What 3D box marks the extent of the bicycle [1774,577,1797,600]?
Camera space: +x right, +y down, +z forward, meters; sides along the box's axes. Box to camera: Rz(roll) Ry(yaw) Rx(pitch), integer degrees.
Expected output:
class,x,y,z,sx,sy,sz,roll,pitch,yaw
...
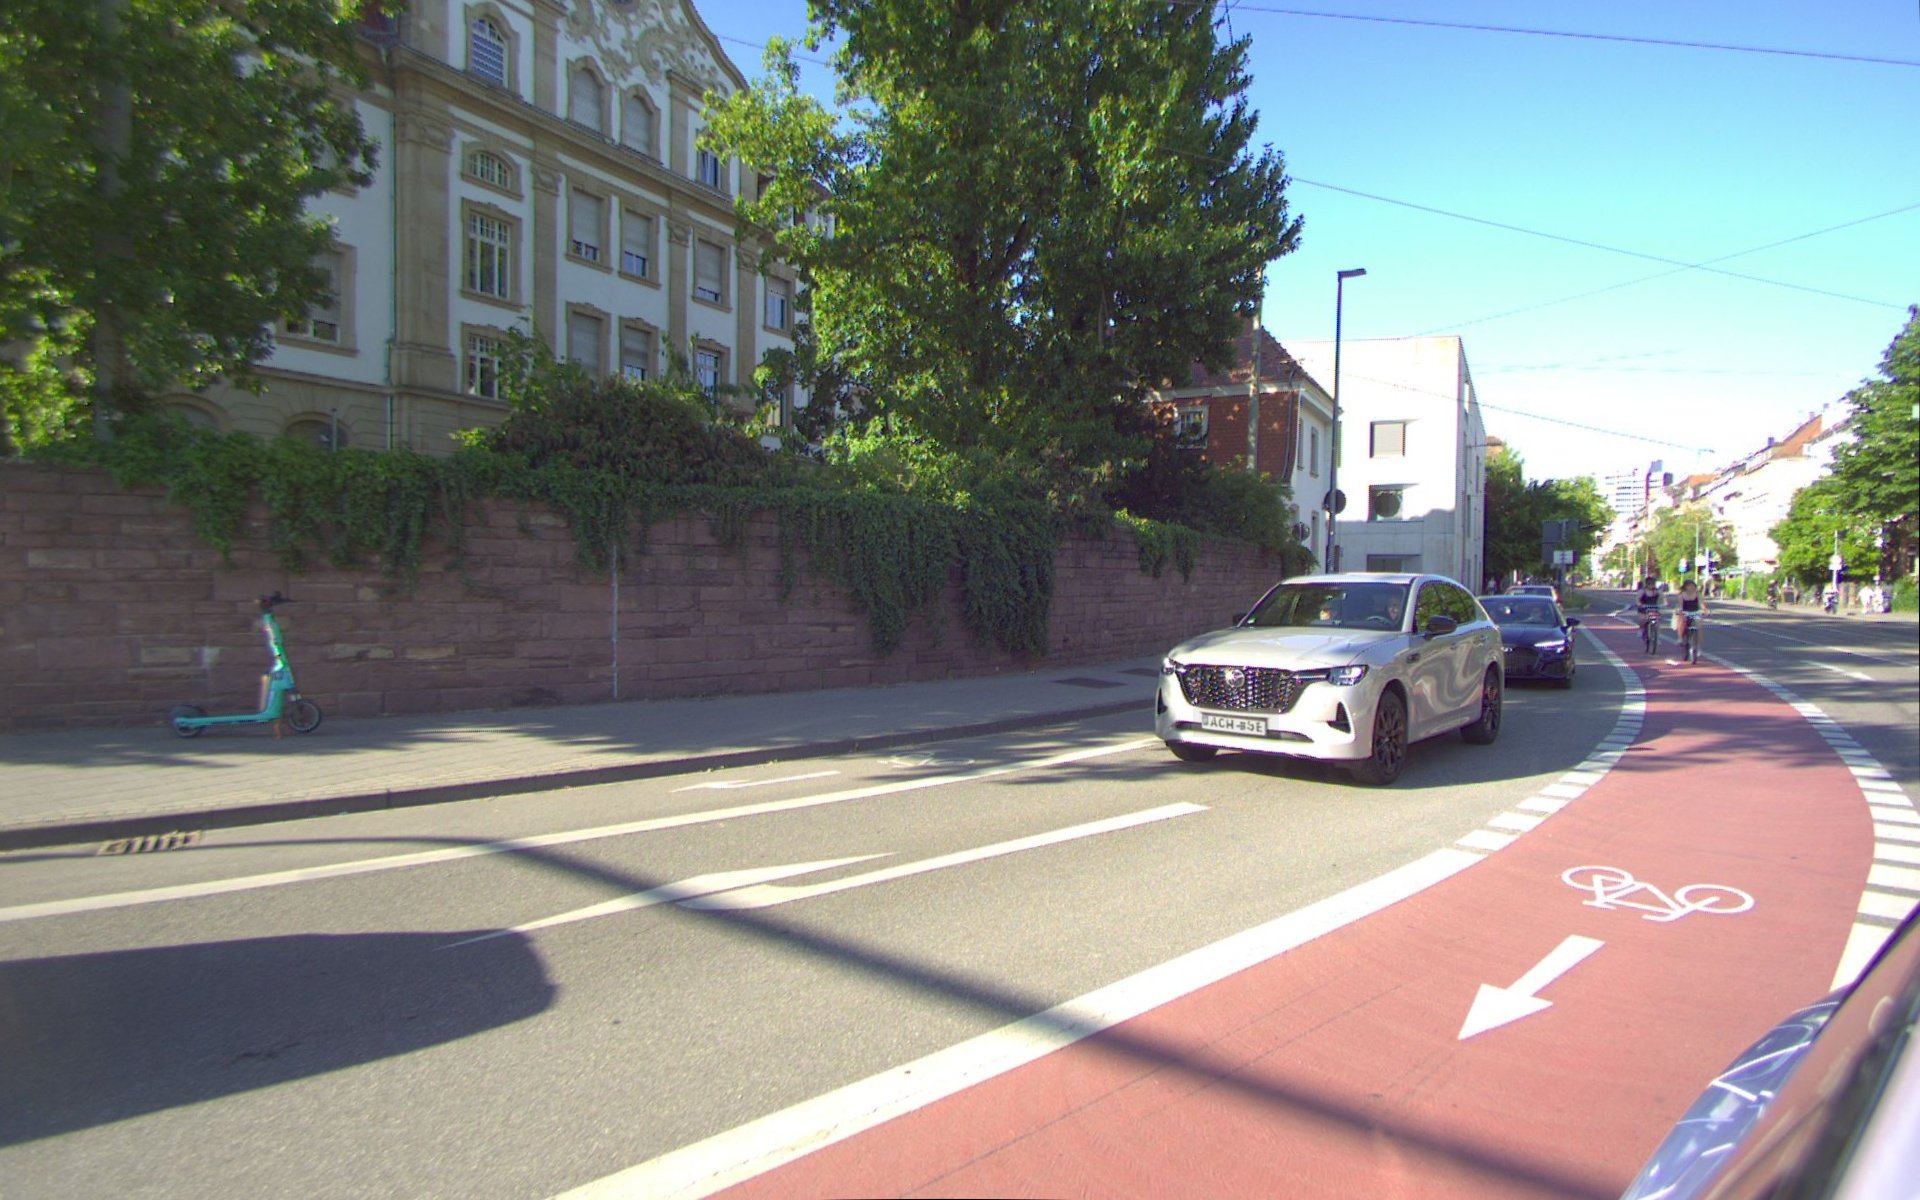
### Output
class,x,y,z,sx,sy,sz,roll,pitch,yaw
bicycle,46.554,-0.681,57.100,0.671,1.266,2.429,2,2,32

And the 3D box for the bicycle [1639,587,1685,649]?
class,x,y,z,sx,sy,sz,roll,pitch,yaw
bicycle,15.577,0.372,22.494,0.671,1.266,2.429,2,2,32

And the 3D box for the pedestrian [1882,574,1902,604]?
class,x,y,z,sx,sy,sz,roll,pitch,yaw
pedestrian,52.907,-0.626,57.476,0.670,1.668,0.808,1,1,32

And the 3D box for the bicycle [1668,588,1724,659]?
class,x,y,z,sx,sy,sz,roll,pitch,yaw
bicycle,14.414,0.419,19.867,0.671,1.266,2.429,2,2,32

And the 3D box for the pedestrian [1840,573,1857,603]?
class,x,y,z,sx,sy,sz,roll,pitch,yaw
pedestrian,49.239,-0.669,56.073,0.673,1.668,0.805,1,1,41

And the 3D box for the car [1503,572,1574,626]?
class,x,y,z,sx,sy,sz,roll,pitch,yaw
car,18.130,-0.065,31.659,1.639,1.580,3.605,-1,1,35

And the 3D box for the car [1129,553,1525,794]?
class,x,y,z,sx,sy,sz,roll,pitch,yaw
car,3.637,0.481,9.492,1.939,1.713,4.462,-1,1,42

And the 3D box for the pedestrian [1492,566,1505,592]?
class,x,y,z,sx,sy,sz,roll,pitch,yaw
pedestrian,34.359,-1.346,64.587,0.670,1.668,0.808,1,1,32

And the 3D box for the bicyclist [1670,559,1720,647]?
class,x,y,z,sx,sy,sz,roll,pitch,yaw
bicyclist,14.427,0.045,19.883,0.671,1.667,1.017,2,2,32

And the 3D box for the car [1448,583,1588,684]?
class,x,y,z,sx,sy,sz,roll,pitch,yaw
car,9.338,0.463,16.776,1.776,1.451,3.954,-1,1,33

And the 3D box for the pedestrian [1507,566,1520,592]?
class,x,y,z,sx,sy,sz,roll,pitch,yaw
pedestrian,35.098,-1.347,64.211,0.670,1.668,0.808,1,1,32

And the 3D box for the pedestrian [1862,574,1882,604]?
class,x,y,z,sx,sy,sz,roll,pitch,yaw
pedestrian,52.164,-0.636,57.898,0.670,1.668,0.808,1,1,32

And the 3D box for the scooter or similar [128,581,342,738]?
class,x,y,z,sx,sy,sz,roll,pitch,yaw
scooter or similar,-6.236,0.487,8.776,1.394,1.285,0.577,0,1,-17

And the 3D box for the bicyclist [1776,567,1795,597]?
class,x,y,z,sx,sy,sz,roll,pitch,yaw
bicyclist,46.573,-1.014,57.105,0.671,1.667,1.017,2,2,32

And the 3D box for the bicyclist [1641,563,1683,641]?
class,x,y,z,sx,sy,sz,roll,pitch,yaw
bicyclist,15.558,0.032,22.456,0.671,1.667,1.017,2,2,32

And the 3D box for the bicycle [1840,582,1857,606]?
class,x,y,z,sx,sy,sz,roll,pitch,yaw
bicycle,49.235,-0.354,56.074,0.673,1.266,2.421,1,1,41
